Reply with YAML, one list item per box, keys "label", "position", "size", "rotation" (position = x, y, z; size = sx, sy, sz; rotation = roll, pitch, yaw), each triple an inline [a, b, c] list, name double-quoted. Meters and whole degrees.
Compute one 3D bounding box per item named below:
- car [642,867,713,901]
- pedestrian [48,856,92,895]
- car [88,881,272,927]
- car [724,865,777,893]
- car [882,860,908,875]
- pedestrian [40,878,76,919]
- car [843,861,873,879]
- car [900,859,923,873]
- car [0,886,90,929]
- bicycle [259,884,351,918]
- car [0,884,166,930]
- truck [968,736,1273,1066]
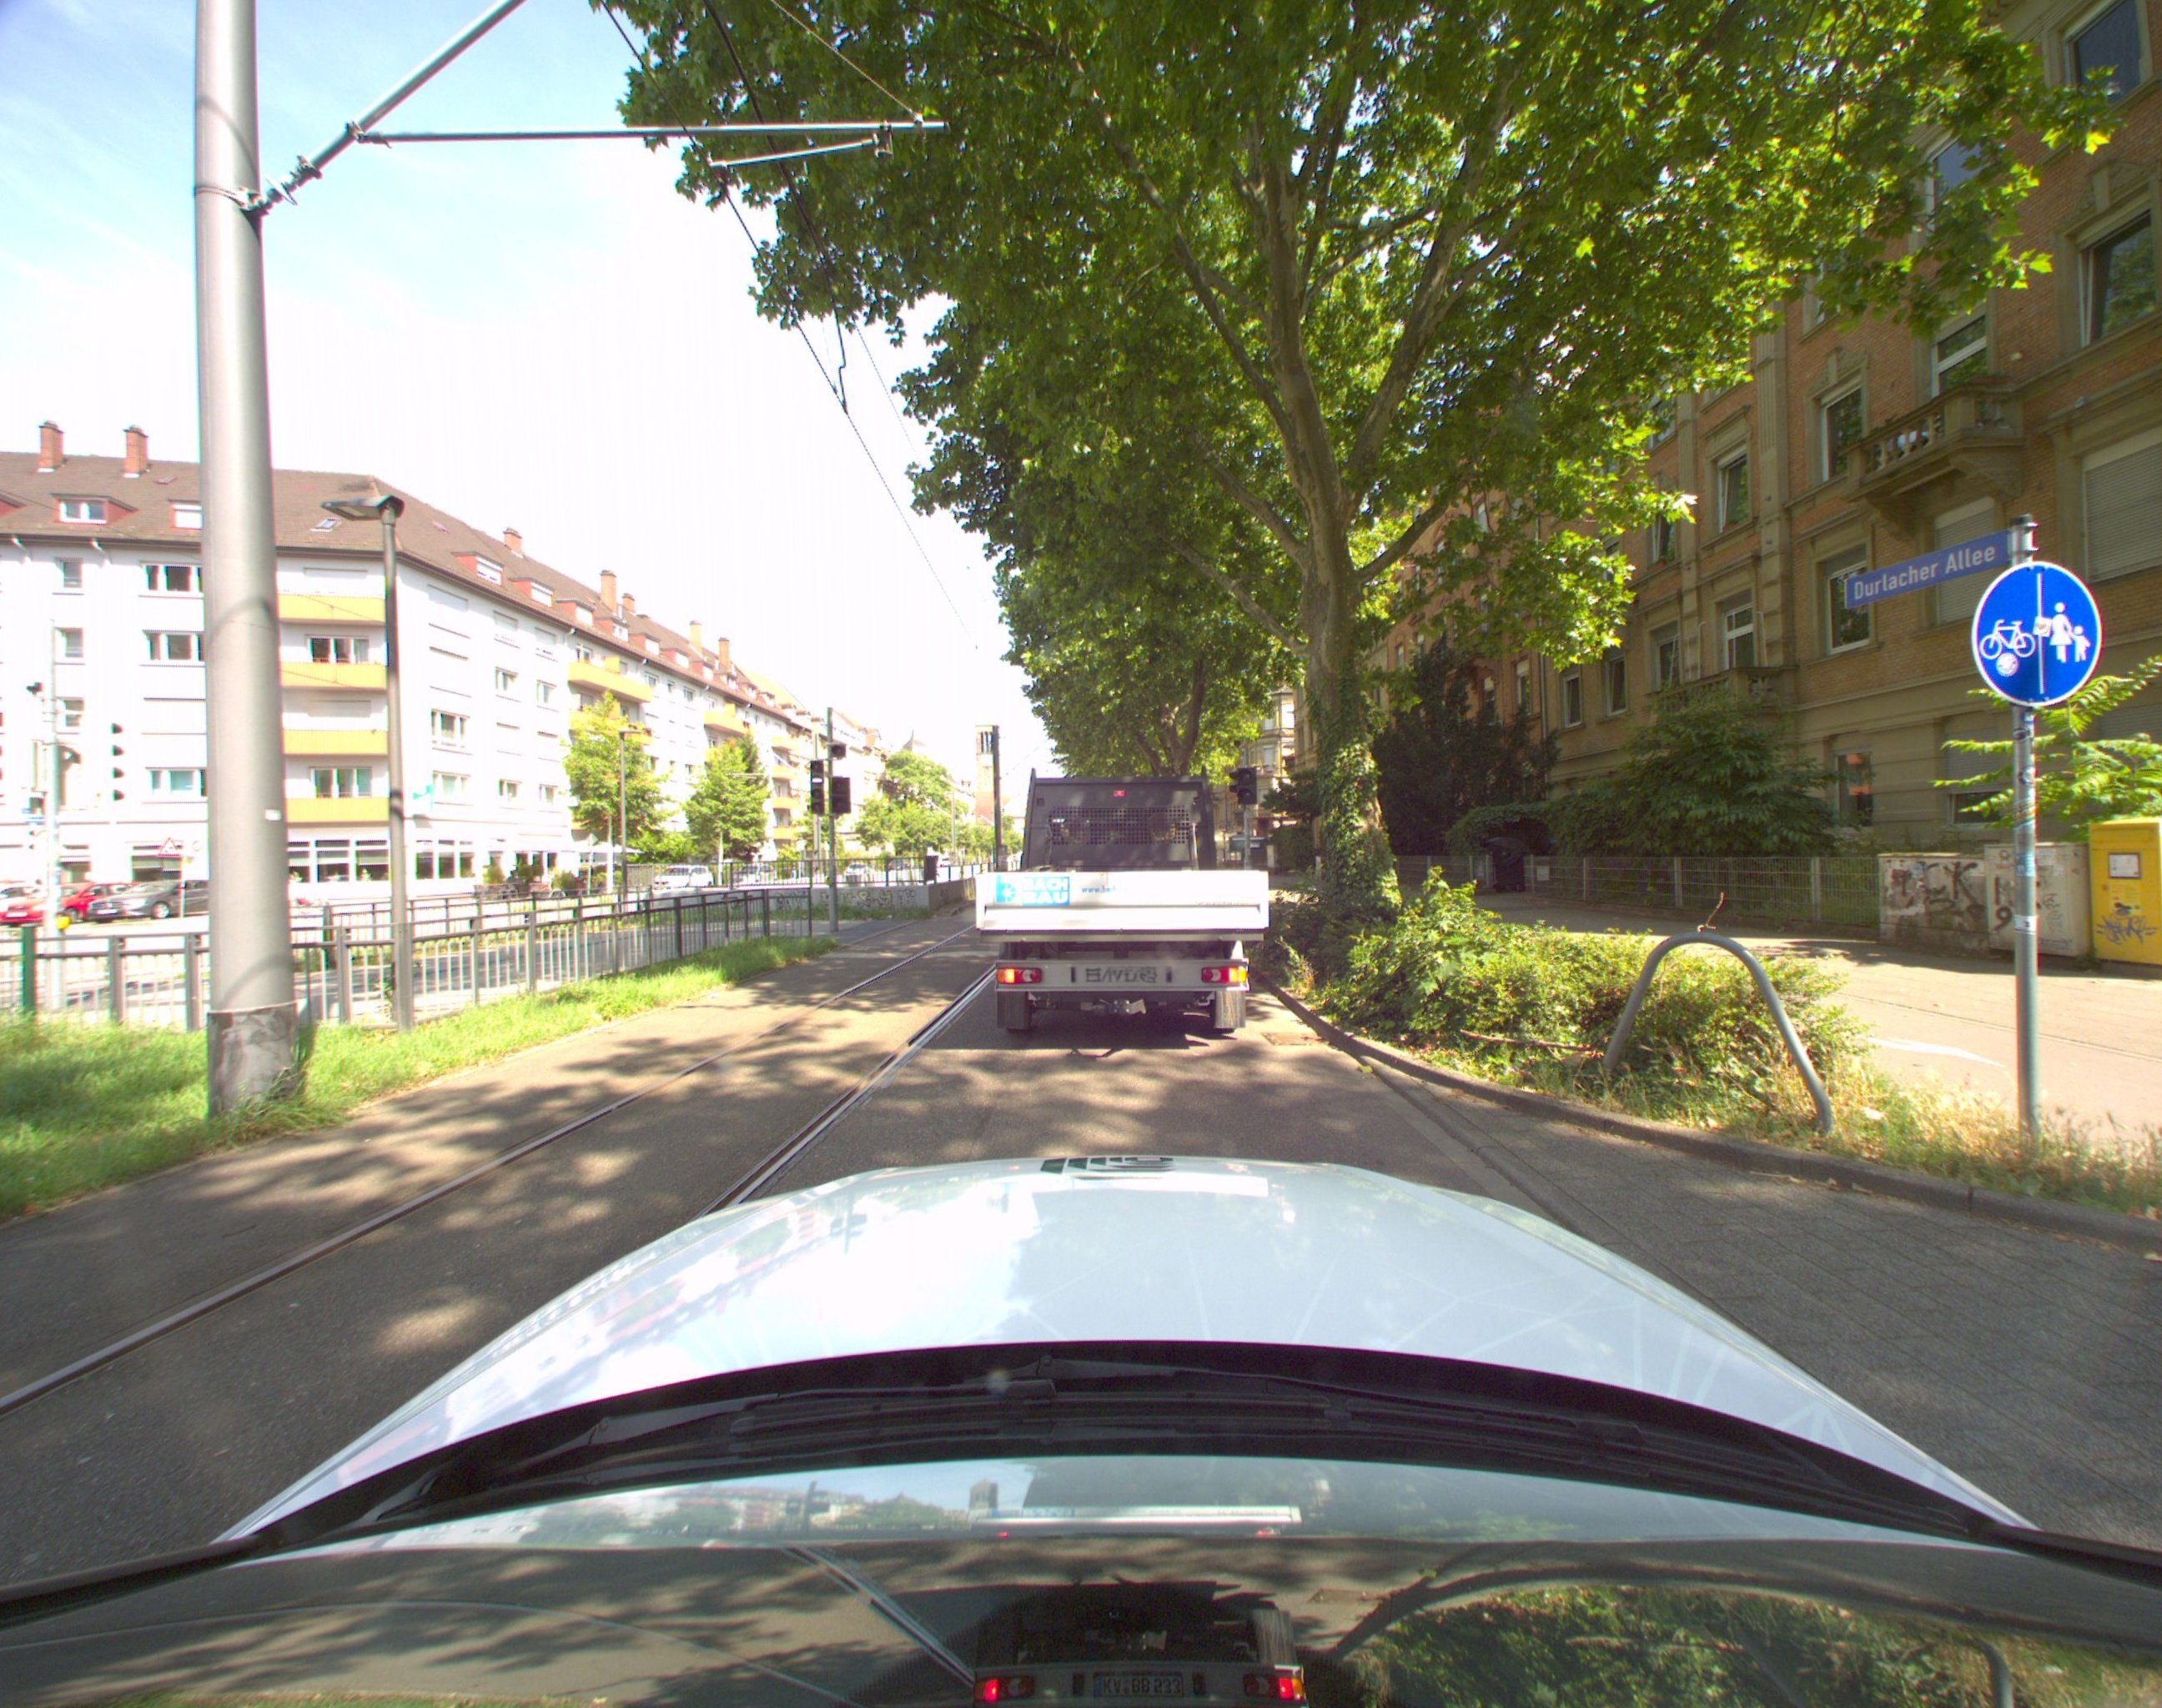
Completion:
- label: "car"
  position: [-20.537, 1.509, 41.656]
  size: [1.767, 1.498, 3.994]
  rotation: [-3, 0, -4]
- label: "pedestrian"
  position: [-41.033, 0.862, 33.060]
  size: [0.861, 1.572, 0.685]
  rotation: [-1, 0, -22]
- label: "car"
  position: [-33.173, 1.793, 30.222]
  size: [1.830, 1.376, 4.637]
  rotation: [-2, 0, -4]
- label: "car"
  position: [-20.317, 1.524, 50.237]
  size: [1.767, 1.498, 3.994]
  rotation: [-3, 0, -4]
- label: "car"
  position: [-19.445, 1.396, 85.247]
  size: [1.764, 1.498, 4.000]
  rotation: [-2, 0, 0]
- label: "pedestrian"
  position: [-40.767, 1.767, 32.453]
  size: [0.690, 1.572, 0.542]
  rotation: [-1, 0, -22]
- label: "car"
  position: [-19.589, 1.369, 71.750]
  size: [1.767, 1.498, 3.994]
  rotation: [-2, 0, -4]
- label: "car"
  position: [-19.362, 1.410, 93.087]
  size: [1.764, 1.498, 4.000]
  rotation: [-2, 0, 0]
- label: "car"
  position: [-39.320, 1.969, 29.483]
  size: [1.929, 1.406, 4.158]
  rotation: [-2, 0, -6]
- label: "bicycle"
  position: [-30.108, 1.784, 31.685]
  size: [0.908, 1.137, 2.807]
  rotation: [-2, 0, -1]
- label: "car"
  position: [-36.532, 1.885, 29.650]
  size: [1.929, 1.406, 4.158]
  rotation: [-2, 0, -6]
- label: "truck"
  position: [0.380, 0.342, 7.999]
  size: [2.130, 2.319, 4.404]
  rotation: [-1, 0, 3]
